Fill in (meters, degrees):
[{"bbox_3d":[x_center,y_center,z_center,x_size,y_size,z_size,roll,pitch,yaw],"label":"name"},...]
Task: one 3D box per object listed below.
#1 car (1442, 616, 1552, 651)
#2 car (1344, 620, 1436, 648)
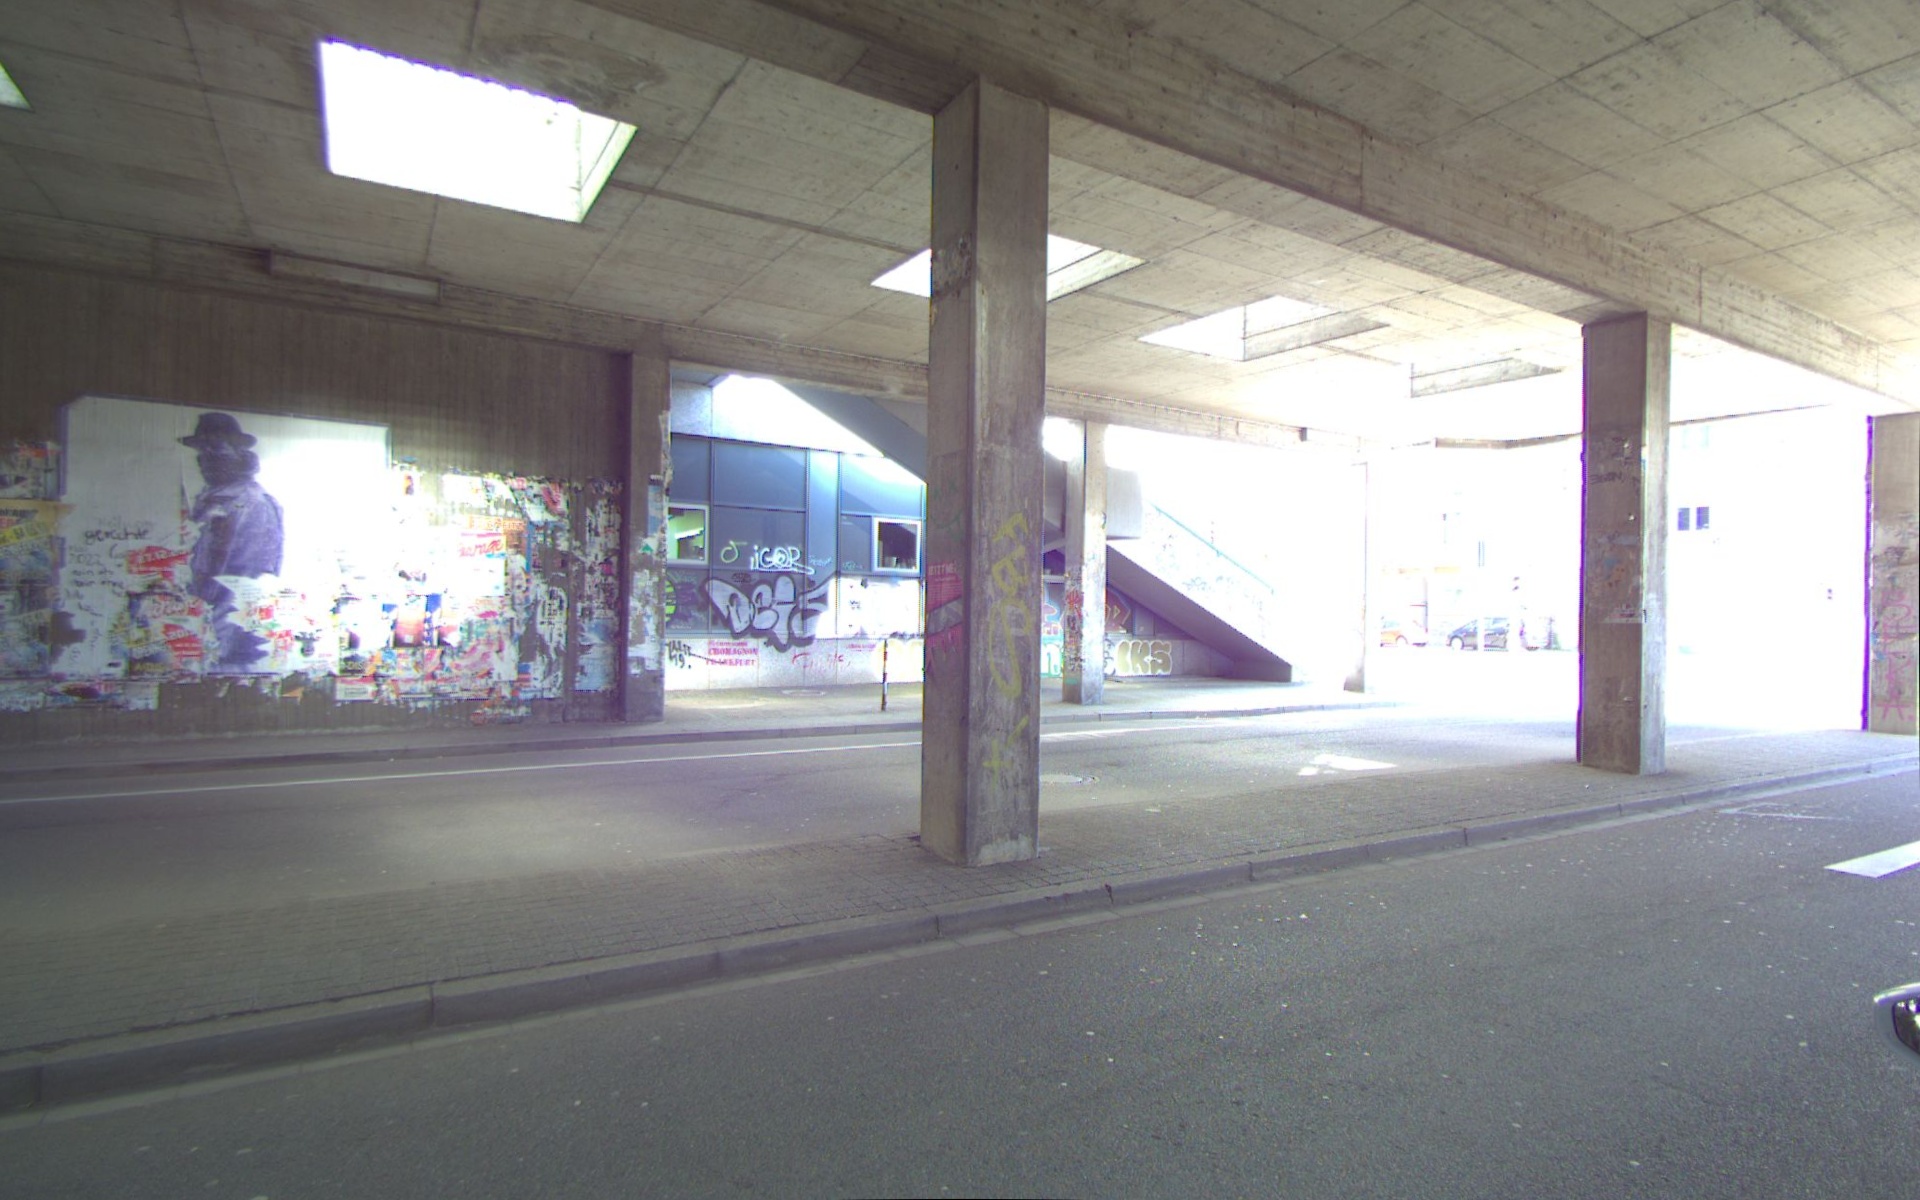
[{"bbox_3d":[25.414,1.571,47.659,2.240,1.571,4.111,1,-1,-29],"label":"car"},{"bbox_3d":[22.492,1.757,52.670,2.163,1.392,3.971,1,-1,-28],"label":"car"}]
